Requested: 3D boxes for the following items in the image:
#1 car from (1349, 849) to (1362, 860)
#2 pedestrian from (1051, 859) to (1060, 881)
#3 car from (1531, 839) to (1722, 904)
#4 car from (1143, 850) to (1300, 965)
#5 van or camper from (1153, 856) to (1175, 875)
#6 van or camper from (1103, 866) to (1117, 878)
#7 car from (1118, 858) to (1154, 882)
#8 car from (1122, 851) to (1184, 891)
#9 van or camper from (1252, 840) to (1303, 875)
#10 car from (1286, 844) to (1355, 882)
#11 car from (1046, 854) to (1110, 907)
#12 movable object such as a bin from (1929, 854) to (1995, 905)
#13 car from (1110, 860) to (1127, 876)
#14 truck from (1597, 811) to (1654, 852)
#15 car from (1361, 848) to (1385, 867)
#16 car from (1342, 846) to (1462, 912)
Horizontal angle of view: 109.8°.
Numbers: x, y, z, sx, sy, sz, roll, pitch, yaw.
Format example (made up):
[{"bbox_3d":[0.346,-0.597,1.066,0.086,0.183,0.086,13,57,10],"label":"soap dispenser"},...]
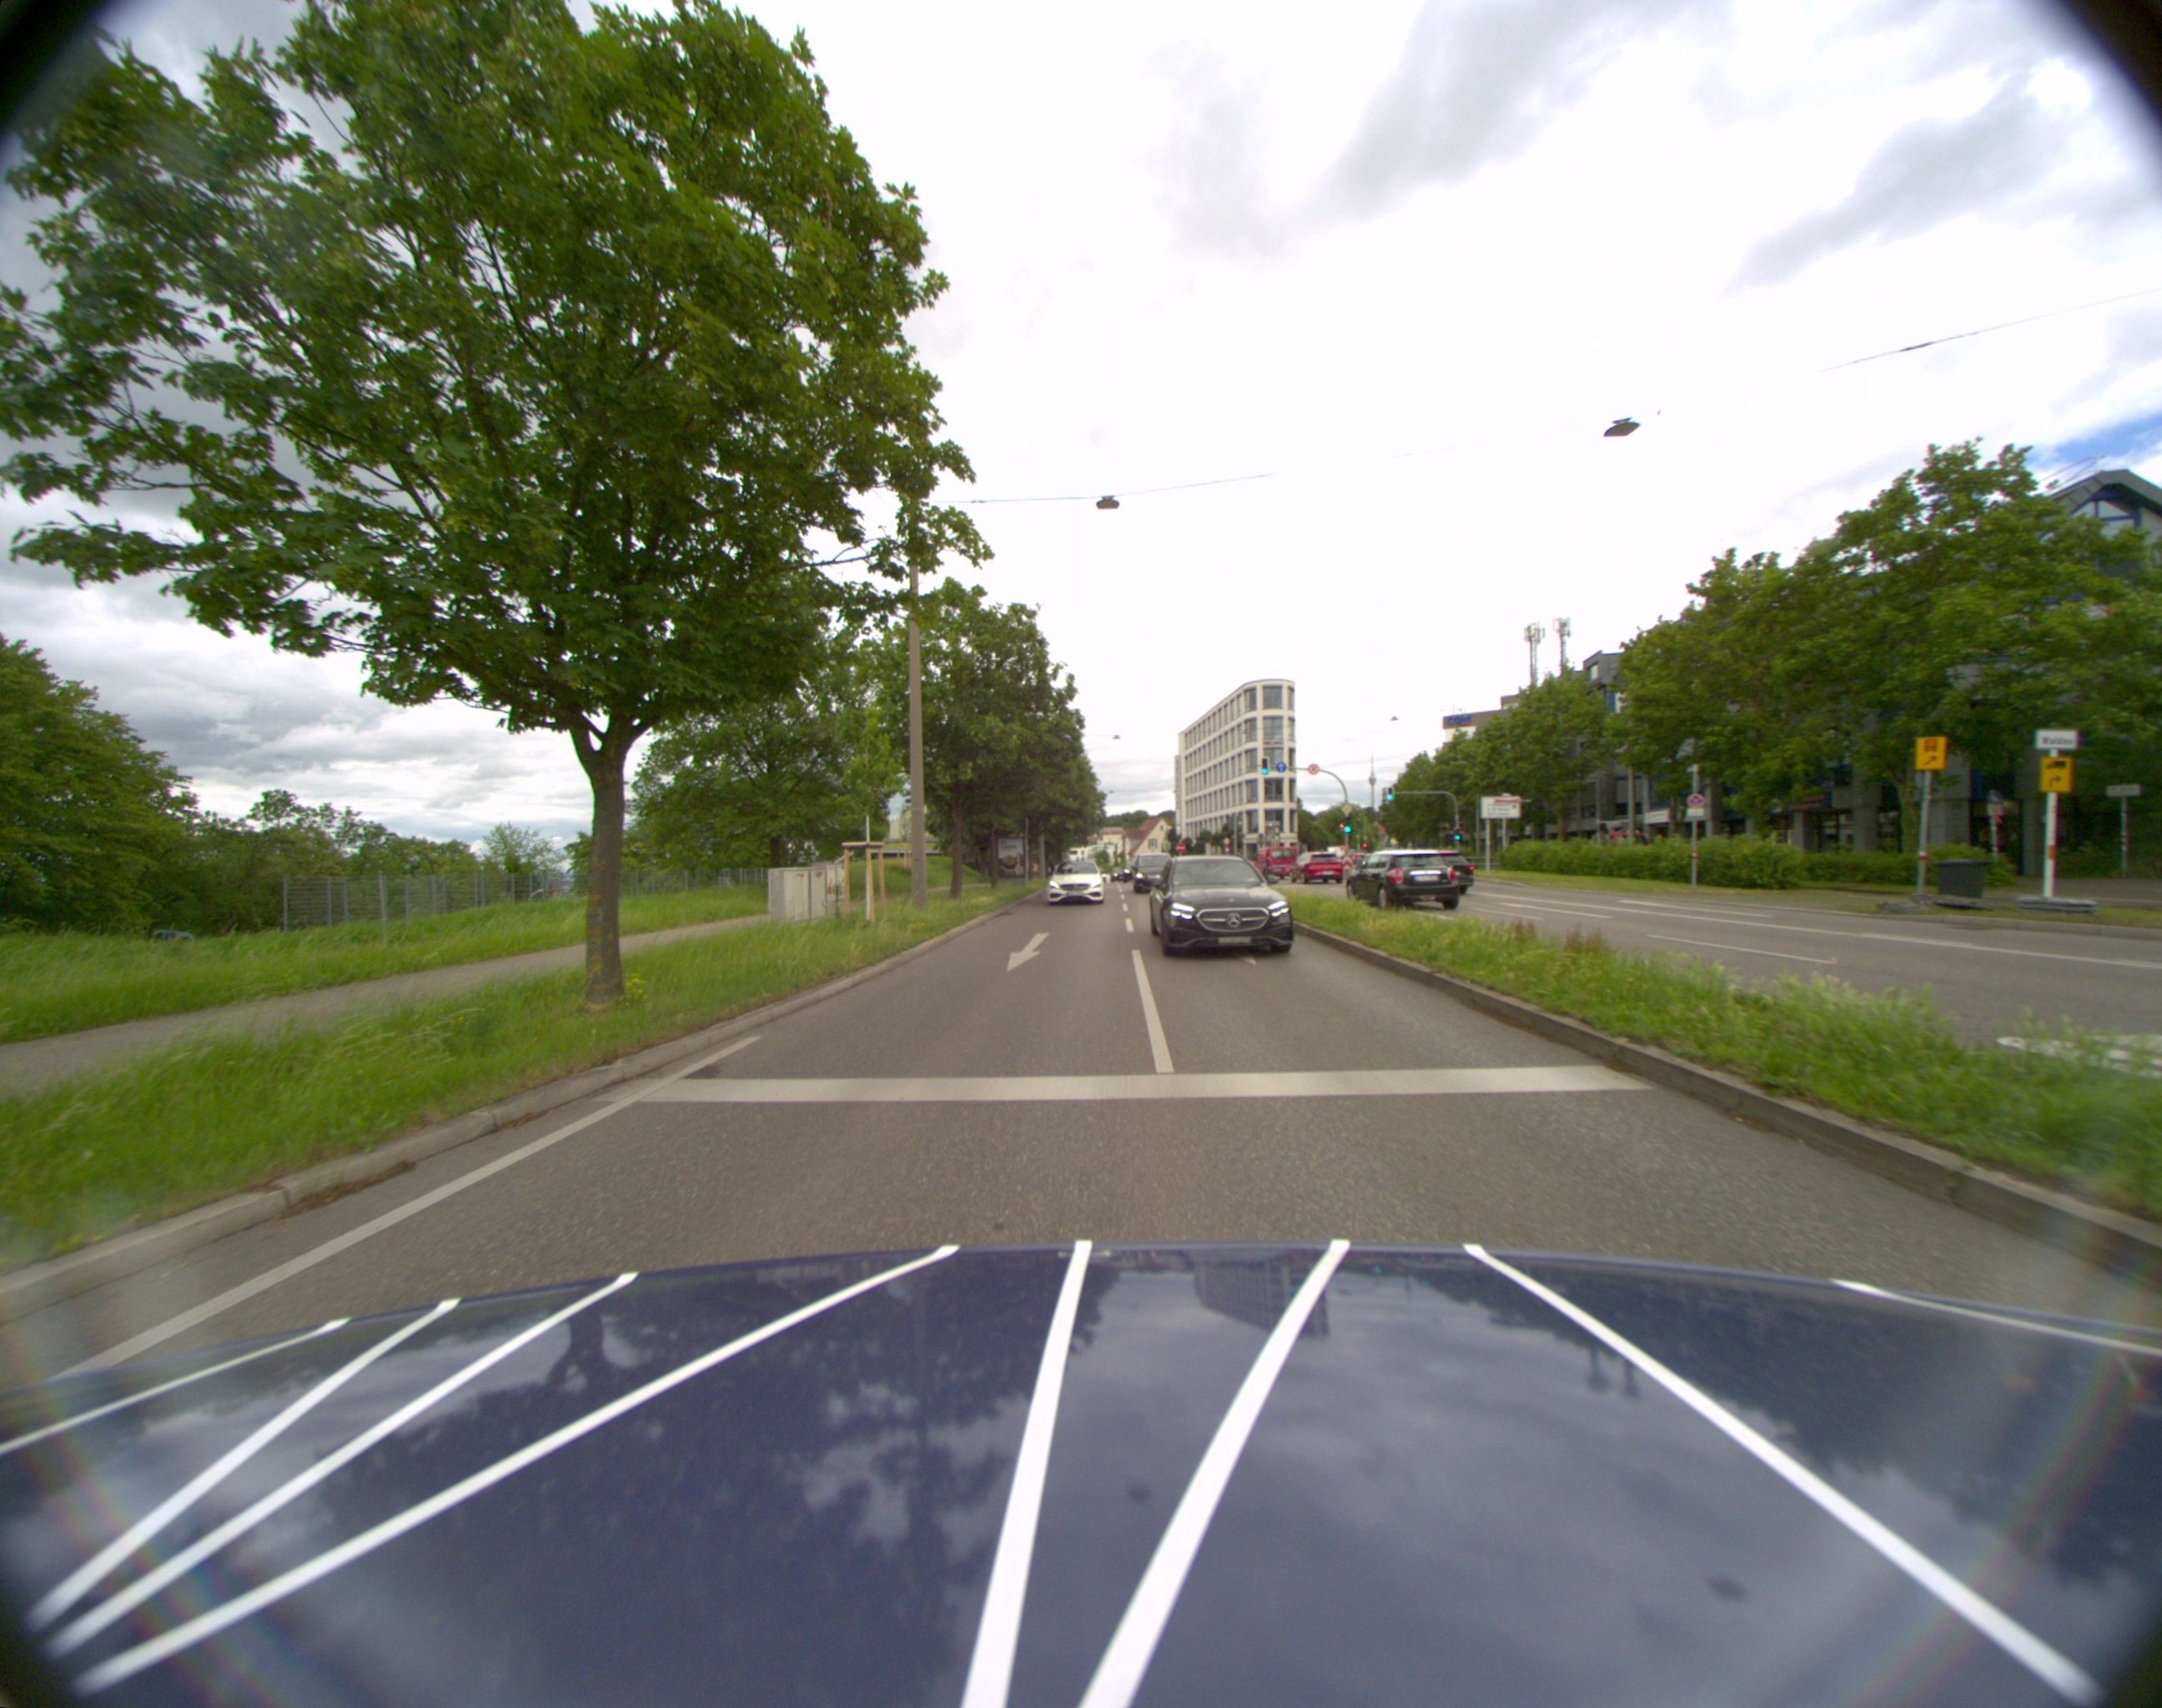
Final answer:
[{"bbox_3d":[41.436,0.026,114.681,1.715,1.454,4.446,-4,0,21],"label":"car"},{"bbox_3d":[-2.108,1.325,62.347,0.644,1.844,0.673,-1,-2,-4],"label":"pedestrian"},{"bbox_3d":[13.943,0.422,19.809,1.998,1.491,4.395,-1,0,3],"label":"car"},{"bbox_3d":[2.102,0.752,12.580,1.878,1.521,4.336,-2,0,2],"label":"car"},{"bbox_3d":[8.962,1.198,82.391,1.931,1.926,5.249,-2,0,1],"label":"van or camper"},{"bbox_3d":[4.975,3.162,130.938,1.999,2.001,4.449,-1,-1,-1],"label":"van or camper"},{"bbox_3d":[3.839,1.169,53.209,1.879,1.520,4.000,-1,-3,-5],"label":"car"},{"bbox_3d":[2.933,0.666,31.857,1.879,1.521,3.998,-1,0,-5],"label":"car"},{"bbox_3d":[12.094,0.214,47.087,1.998,2.002,5.198,-2,0,3],"label":"van or camper"},{"bbox_3d":[11.097,0.348,35.589,1.998,1.581,4.835,-2,1,5],"label":"car"},{"bbox_3d":[-0.032,0.842,25.894,1.809,1.521,4.001,-4,0,4],"label":"car"},{"bbox_3d":[18.379,0.527,15.856,0.695,1.036,0.596,-1,0,-5],"label":"movable object such as a bin"},{"bbox_3d":[4.240,1.604,86.030,1.833,1.699,3.844,-3,-3,2],"label":"car"},{"bbox_3d":[36.045,-1.416,50.395,1.996,2.372,4.007,-4,-3,21],"label":"truck"},{"bbox_3d":[25.111,0.326,65.328,1.778,1.454,4.447,-4,-1,21],"label":"car"},{"bbox_3d":[7.854,0.547,18.941,1.617,1.437,3.653,-1,1,3],"label":"car"}]
